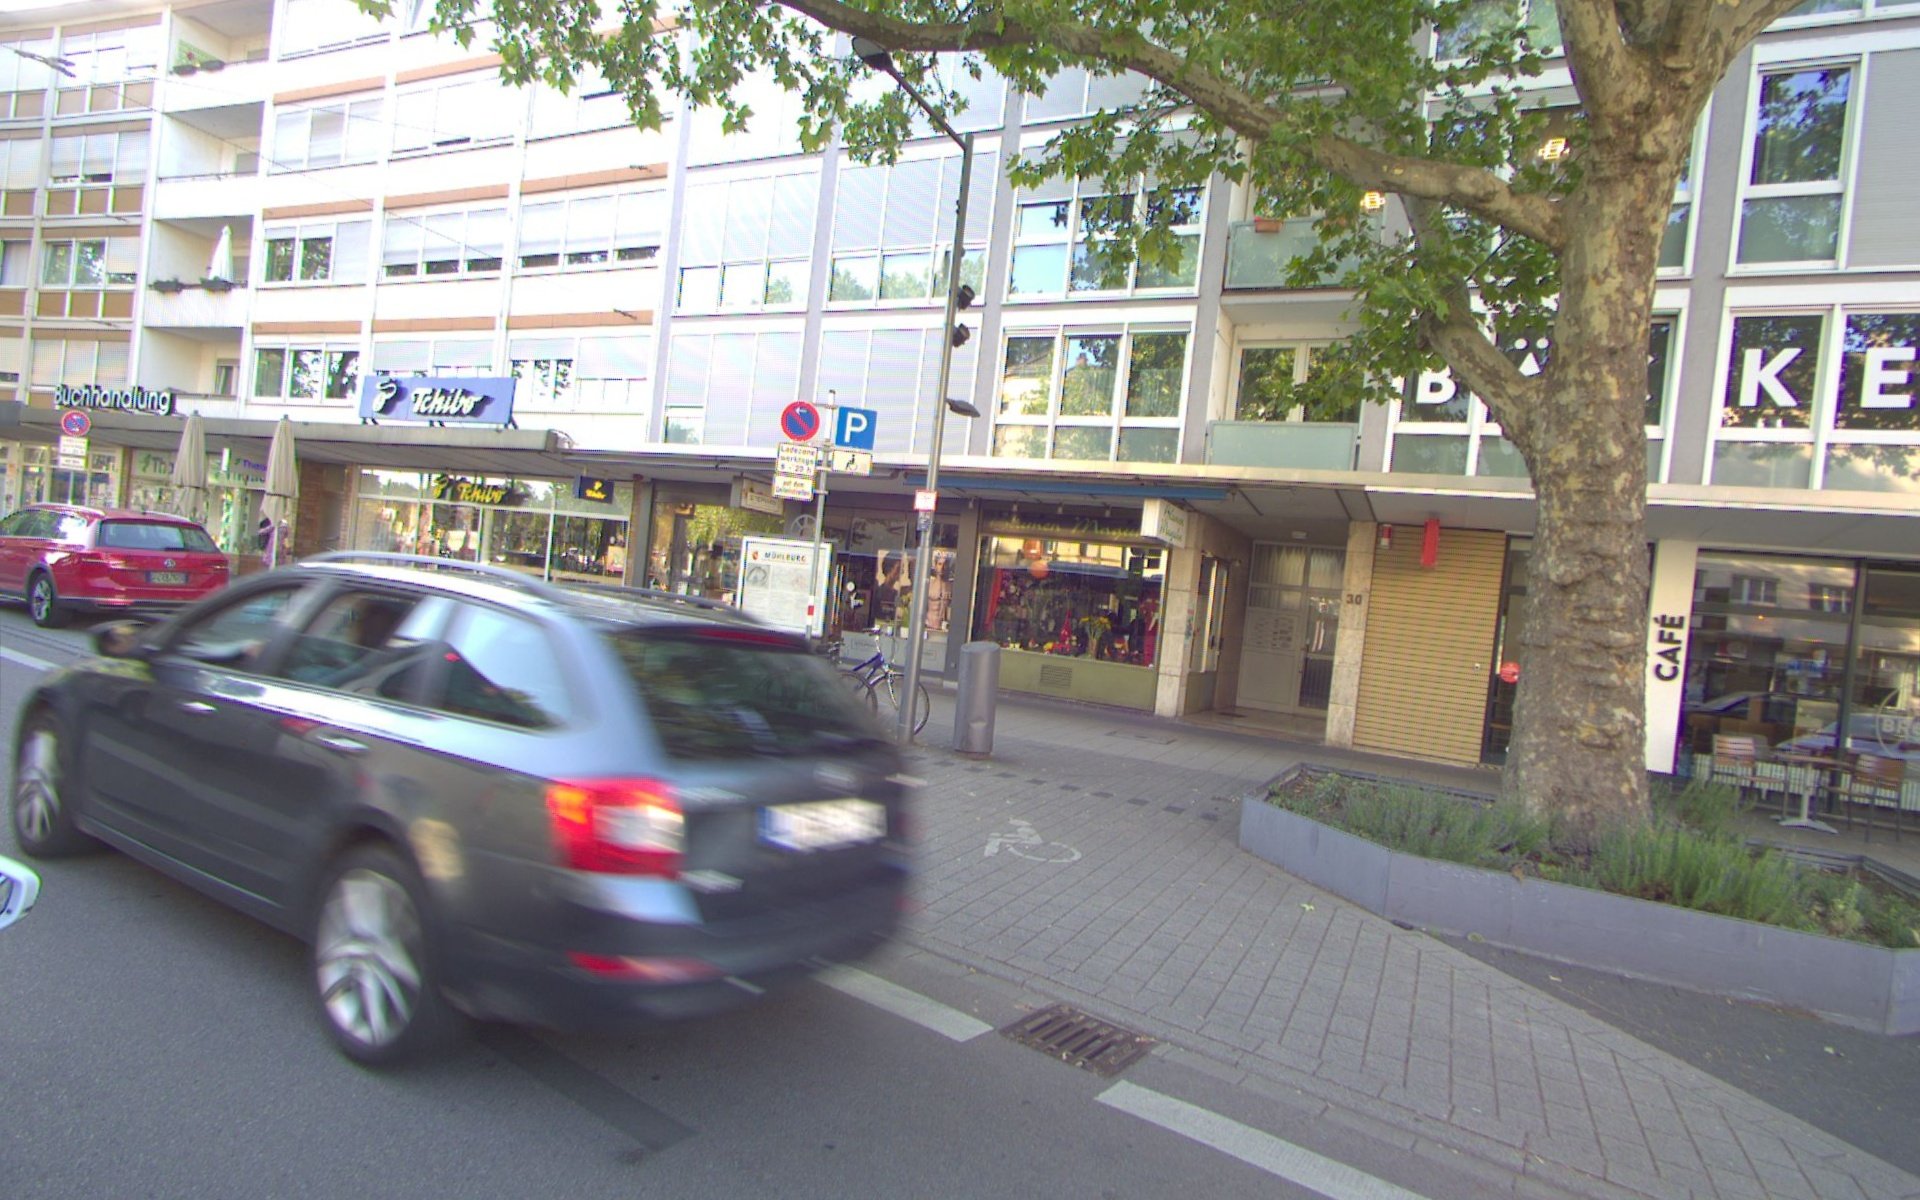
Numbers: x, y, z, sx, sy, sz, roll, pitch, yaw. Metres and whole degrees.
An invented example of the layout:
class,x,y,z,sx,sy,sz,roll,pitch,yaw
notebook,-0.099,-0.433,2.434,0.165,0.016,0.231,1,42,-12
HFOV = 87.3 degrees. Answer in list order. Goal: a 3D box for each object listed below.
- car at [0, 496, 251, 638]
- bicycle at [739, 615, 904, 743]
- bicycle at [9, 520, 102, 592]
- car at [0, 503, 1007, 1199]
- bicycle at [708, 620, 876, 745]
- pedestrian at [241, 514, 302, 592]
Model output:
class,x,y,z,sx,sy,sz,roll,pitch,yaw
car,-11.756,-0.506,13.504,4.488,1.516,1.780,6,2,28
bicycle,-1.472,0.811,10.630,1.686,1.116,0.294,6,4,17
bicycle,-15.785,-0.774,17.548,1.631,1.085,0.512,7,3,22
car,-2.060,0.585,4.141,4.005,1.490,1.807,6,-3,32
bicycle,-1.754,0.835,10.423,1.686,1.055,0.294,6,4,17
pedestrian,-14.917,-1.013,21.801,0.793,1.571,0.641,7,1,24
